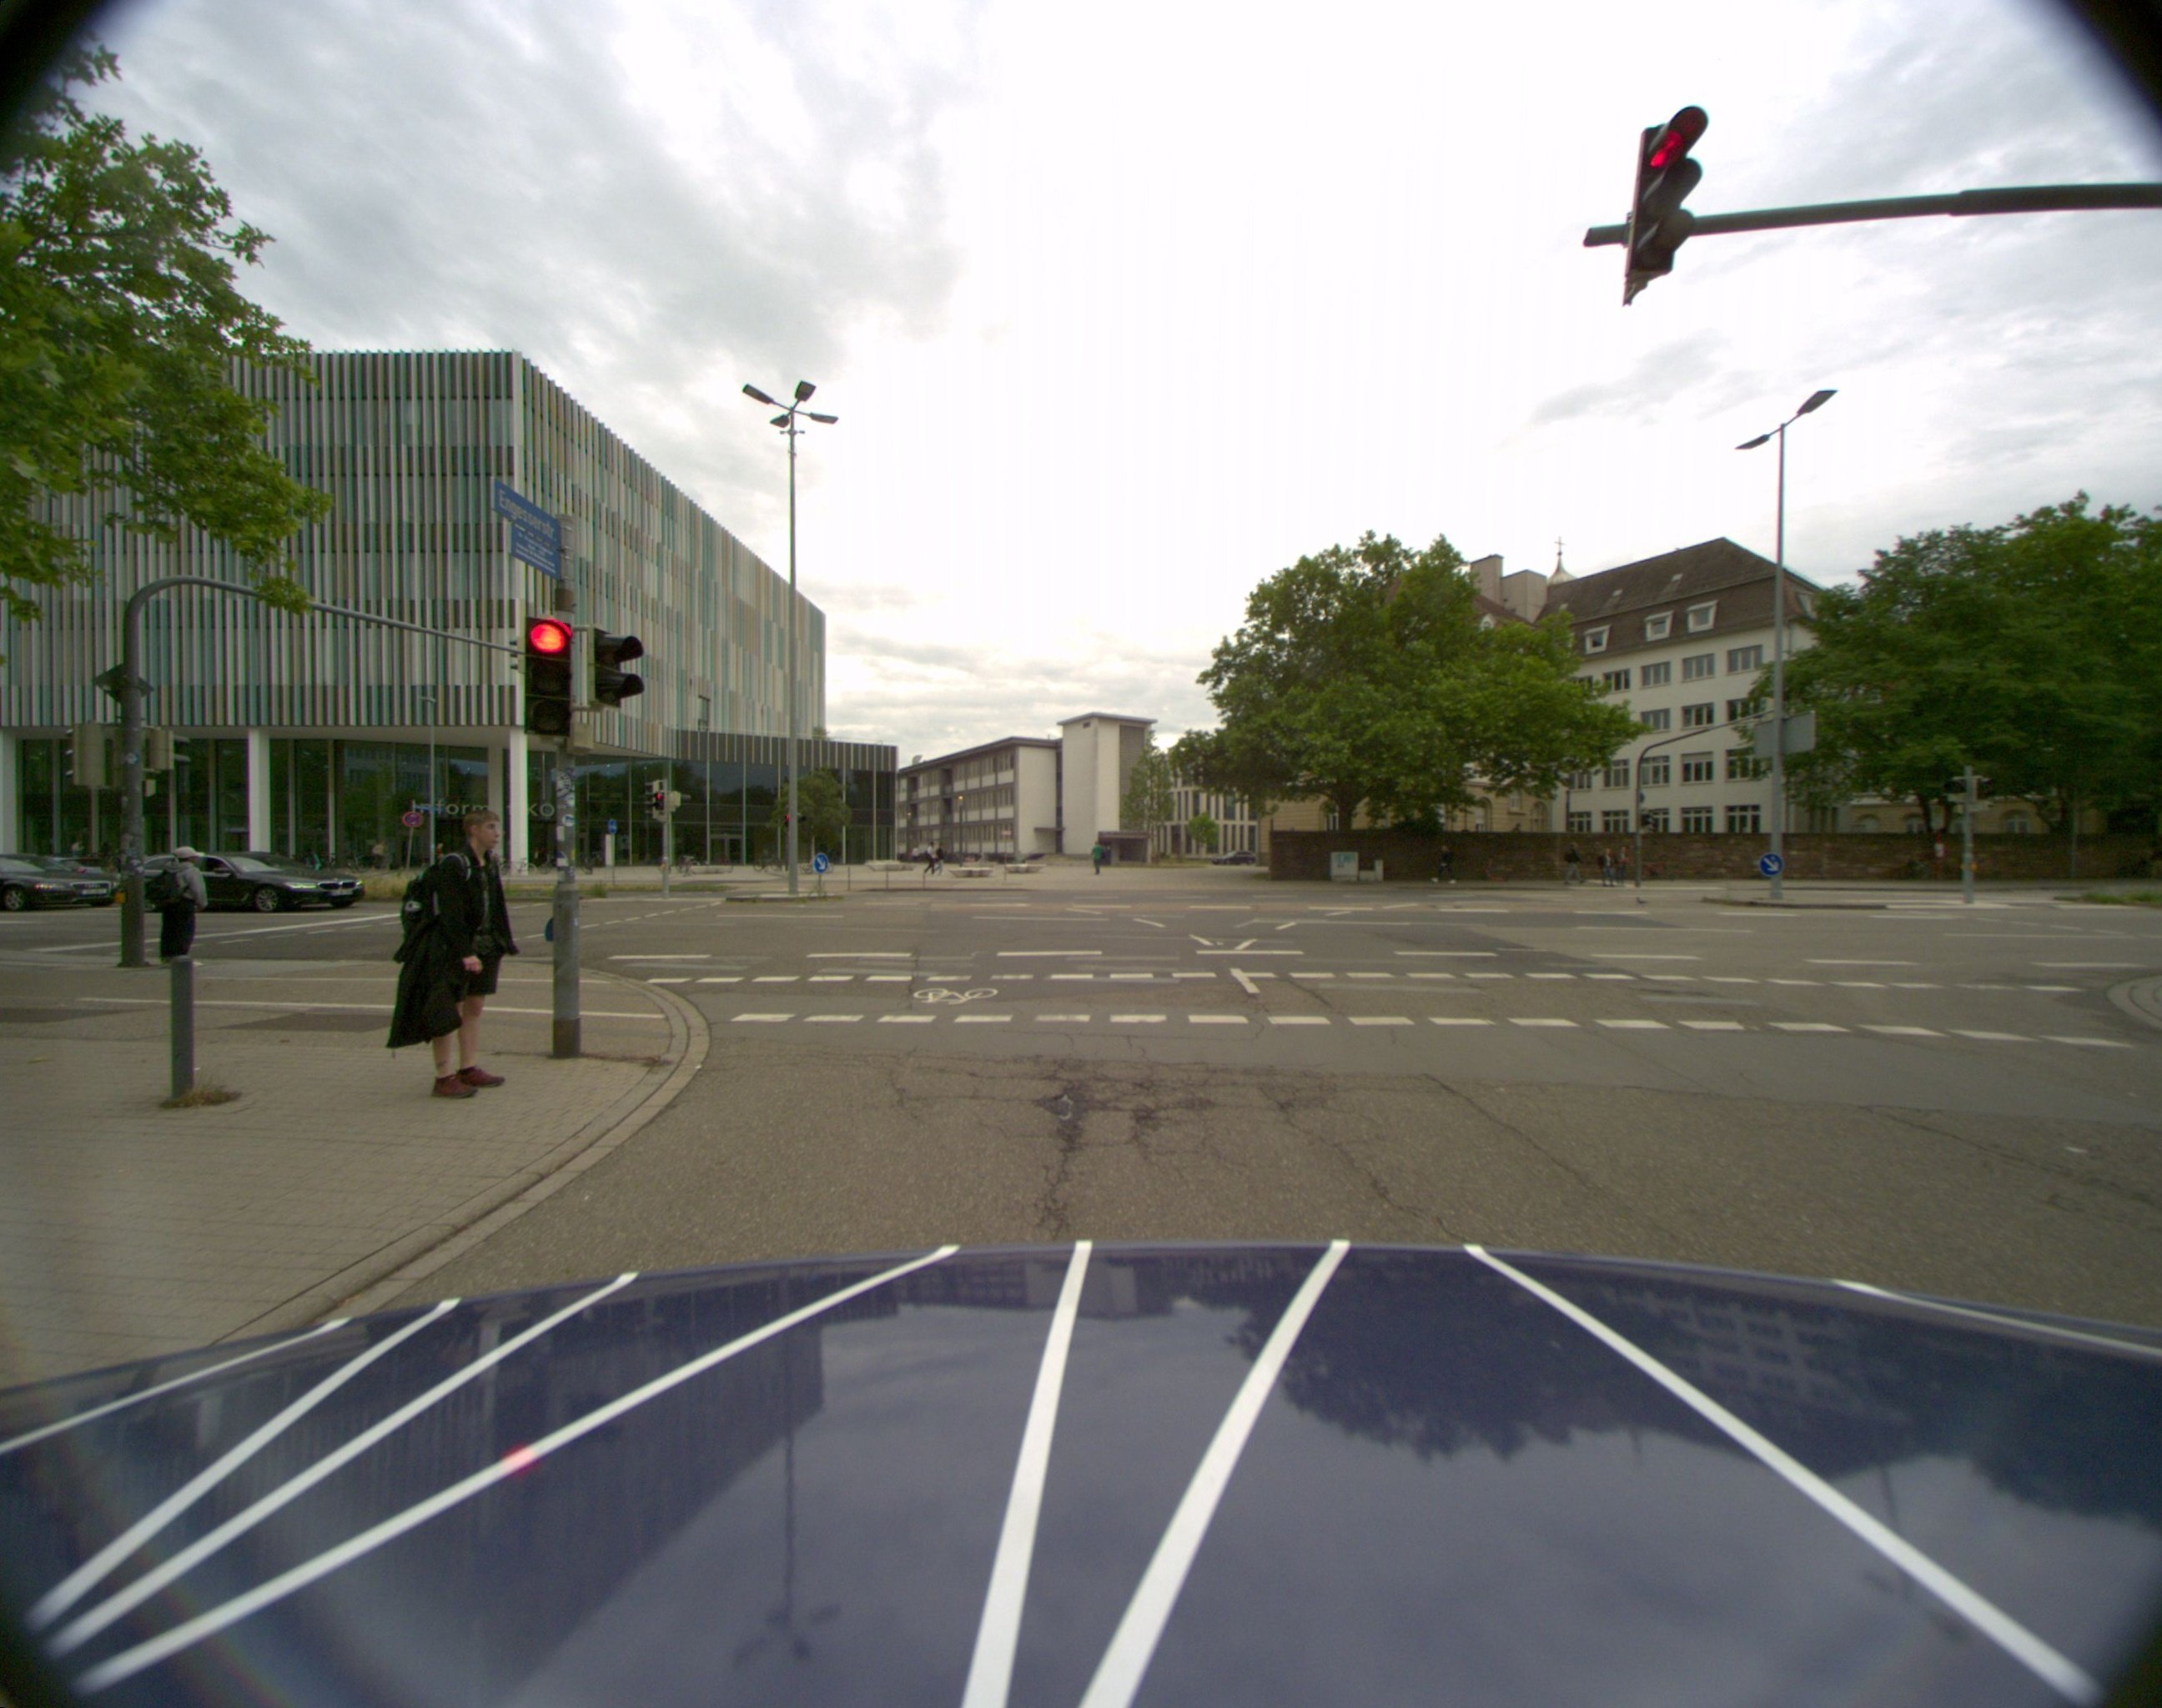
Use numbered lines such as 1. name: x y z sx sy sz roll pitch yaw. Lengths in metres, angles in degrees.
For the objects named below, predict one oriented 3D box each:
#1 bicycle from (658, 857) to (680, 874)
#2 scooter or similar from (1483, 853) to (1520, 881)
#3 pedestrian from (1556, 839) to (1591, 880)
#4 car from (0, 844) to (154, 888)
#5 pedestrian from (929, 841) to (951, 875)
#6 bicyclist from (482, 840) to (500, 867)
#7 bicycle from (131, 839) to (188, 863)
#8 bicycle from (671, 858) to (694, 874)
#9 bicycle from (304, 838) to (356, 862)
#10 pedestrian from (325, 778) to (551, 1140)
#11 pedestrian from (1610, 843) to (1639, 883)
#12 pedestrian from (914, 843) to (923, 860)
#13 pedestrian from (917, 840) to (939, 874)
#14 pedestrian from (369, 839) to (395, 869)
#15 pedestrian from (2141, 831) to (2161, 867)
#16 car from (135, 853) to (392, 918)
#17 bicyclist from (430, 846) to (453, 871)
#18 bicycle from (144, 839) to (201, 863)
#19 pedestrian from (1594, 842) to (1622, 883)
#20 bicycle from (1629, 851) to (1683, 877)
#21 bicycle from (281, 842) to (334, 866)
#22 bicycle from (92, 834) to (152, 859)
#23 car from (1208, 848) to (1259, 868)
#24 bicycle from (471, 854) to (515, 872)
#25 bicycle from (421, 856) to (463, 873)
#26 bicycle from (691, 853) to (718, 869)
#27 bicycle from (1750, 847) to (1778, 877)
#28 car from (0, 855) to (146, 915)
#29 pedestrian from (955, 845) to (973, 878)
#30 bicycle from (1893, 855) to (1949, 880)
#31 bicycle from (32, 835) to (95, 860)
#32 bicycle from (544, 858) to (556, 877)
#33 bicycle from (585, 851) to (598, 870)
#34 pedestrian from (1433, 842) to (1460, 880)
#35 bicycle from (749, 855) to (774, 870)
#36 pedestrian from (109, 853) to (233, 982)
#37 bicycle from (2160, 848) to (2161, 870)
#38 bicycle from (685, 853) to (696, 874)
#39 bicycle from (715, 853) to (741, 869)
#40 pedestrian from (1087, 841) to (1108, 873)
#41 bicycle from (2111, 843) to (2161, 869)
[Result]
1. bicycle: -24.543 0.678 45.227 2.004 0.930 0.485 0 1 42
2. scooter or similar: 19.338 0.601 35.000 1.410 1.223 0.496 1 3 21
3. pedestrian: 21.714 0.218 33.508 1.006 1.779 0.757 0 2 1
4. car: -36.115 0.438 26.781 4.225 1.459 2.000 0 -2 -3
5. pedestrian: -7.489 0.231 40.347 0.848 1.778 0.892 -1 1 -40
6. bicyclist: -32.061 -0.029 41.289 0.483 1.460 0.606 0 1 19
7. bicycle: -51.003 -0.155 42.087 0.628 1.251 2.105 -1 -2 0
8. bicycle: -24.003 0.686 45.736 2.004 0.930 0.550 0 1 42
9. bicycle: -41.320 -0.199 41.820 0.628 1.251 2.106 -1 -2 7
10. pedestrian: -3.851 0.563 4.583 0.791 1.941 0.759 0 1 26
11. pedestrian: 23.231 0.367 32.479 0.642 1.684 0.779 0 2 1
12. pedestrian: -17.384 -0.304 81.234 0.777 1.779 0.759 0 1 -32
13. pedestrian: -8.042 0.155 39.936 0.848 1.778 0.892 -1 1 -40
14. pedestrian: -41.050 -0.011 44.636 0.762 1.778 0.802 1 1 3
15. pedestrian: 52.630 -0.243 37.061 0.773 1.749 0.790 0 2 -10
16. car: -20.388 0.747 19.104 4.288 1.481 2.000 0 2 1
17. bicyclist: -34.386 0.235 40.834 0.717 1.374 0.620 0 1 11
18. bicycle: -50.337 -0.166 42.125 0.628 1.251 2.105 -1 -2 0
19. pedestrian: 22.522 0.348 32.486 0.670 1.729 0.735 0 2 -1
20. bicycle: 26.537 0.474 35.082 2.156 1.178 0.582 0 3 -6
21. bicycle: -42.701 0.039 41.964 0.628 1.251 2.106 -1 -2 7
22. bicycle: -53.121 -0.388 42.120 0.628 1.251 2.105 -1 -2 0
23. car: 14.624 0.391 72.885 4.410 1.570 1.998 -1 -9 -32
24. bicycle: -32.022 0.469 41.404 0.483 0.920 1.919 0 1 19
25. bicycle: -34.341 0.560 40.841 1.913 0.920 0.620 0 1 11
26. bicycle: -22.865 0.436 46.141 2.004 0.931 0.485 1 2 33
27. bicycle: 32.571 0.363 36.216 2.591 1.372 0.667 -1 1 -41
28. car: -27.378 0.773 19.700 3.995 1.445 2.000 0 1 4
29. pedestrian: -5.842 0.378 37.922 0.619 1.656 0.623 -1 1 -43
30. bicycle: 39.993 0.618 36.173 2.156 1.142 0.664 0 2 -9
31. bicycle: -55.790 -0.354 41.688 0.628 1.251 2.105 -1 -2 0
32. bicycle: -30.778 0.788 44.056 0.485 1.039 1.911 -1 1 -37
33. bicycle: -27.835 0.375 43.179 0.485 1.039 1.911 -1 2 -37
34. pedestrian: 16.331 0.299 33.993 0.808 1.656 0.791 0 4 2
35. bicycle: -20.524 0.529 48.781 2.004 0.931 0.485 1 2 33
36. pedestrian: -11.985 0.825 10.030 0.756 1.616 0.794 -2 -2 15
37. bicycle: 56.296 0.269 38.782 2.248 1.142 0.507 0 3 -11
38. bicycle: -20.167 0.478 39.234 0.484 1.039 1.779 -1 2 -27
39. bicycle: -21.889 0.451 47.076 2.004 0.931 0.485 1 2 33
40. pedestrian: 0.887 0.145 40.664 0.904 1.705 0.952 1 3 12
41. bicycle: 52.589 0.101 37.643 2.543 1.258 0.664 0 3 -9
